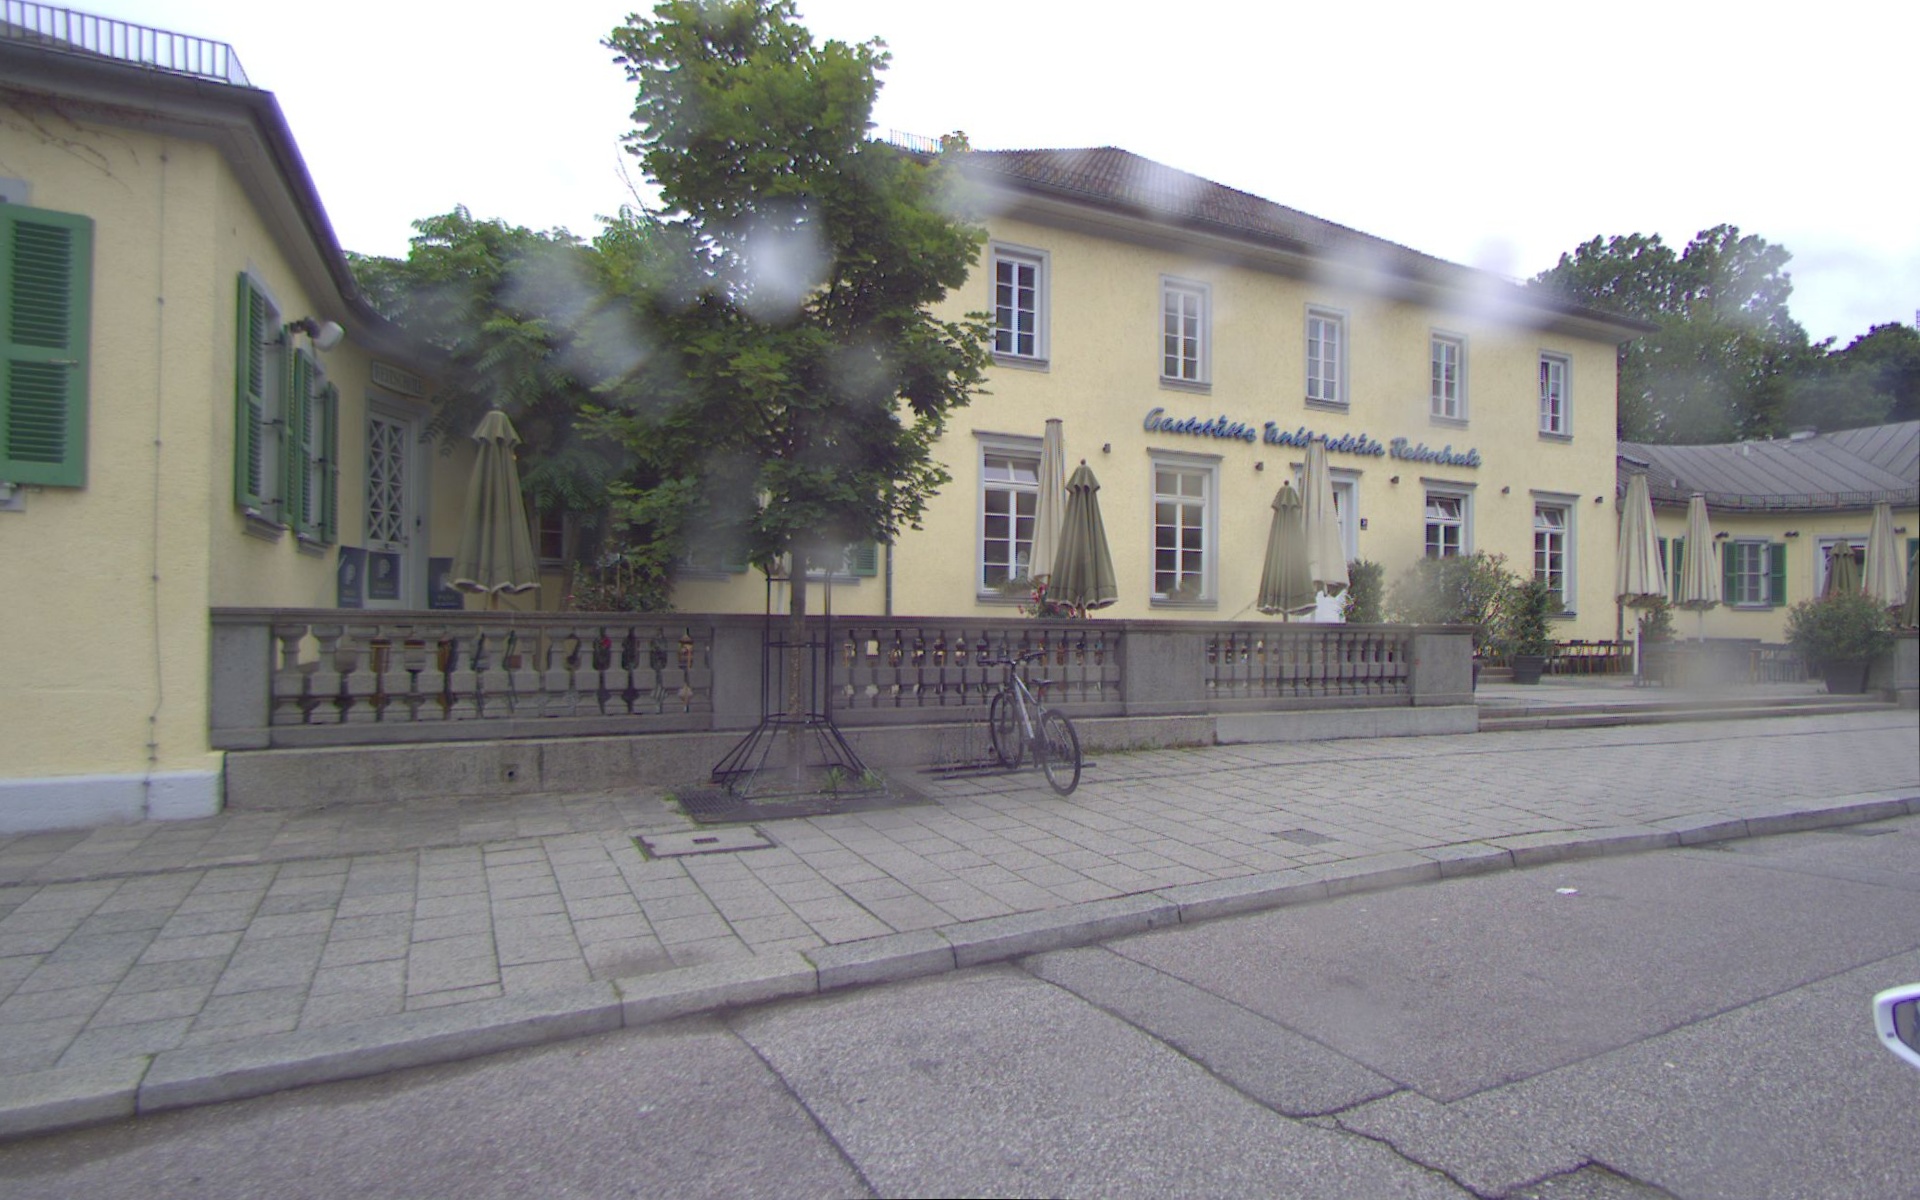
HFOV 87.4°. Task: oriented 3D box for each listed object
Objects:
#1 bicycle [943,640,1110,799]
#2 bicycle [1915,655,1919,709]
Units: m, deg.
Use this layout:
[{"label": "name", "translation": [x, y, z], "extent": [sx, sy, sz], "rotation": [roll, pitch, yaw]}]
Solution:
[{"label": "bicycle", "translation": [0.519, 0.973, 8.803], "extent": [0.606, 1.114, 1.925], "rotation": [1, 1, -24]}, {"label": "bicycle", "translation": [17.480, 1.436, 17.170], "extent": [1.593, 0.938, 0.649], "rotation": [1, -2, 38]}]
